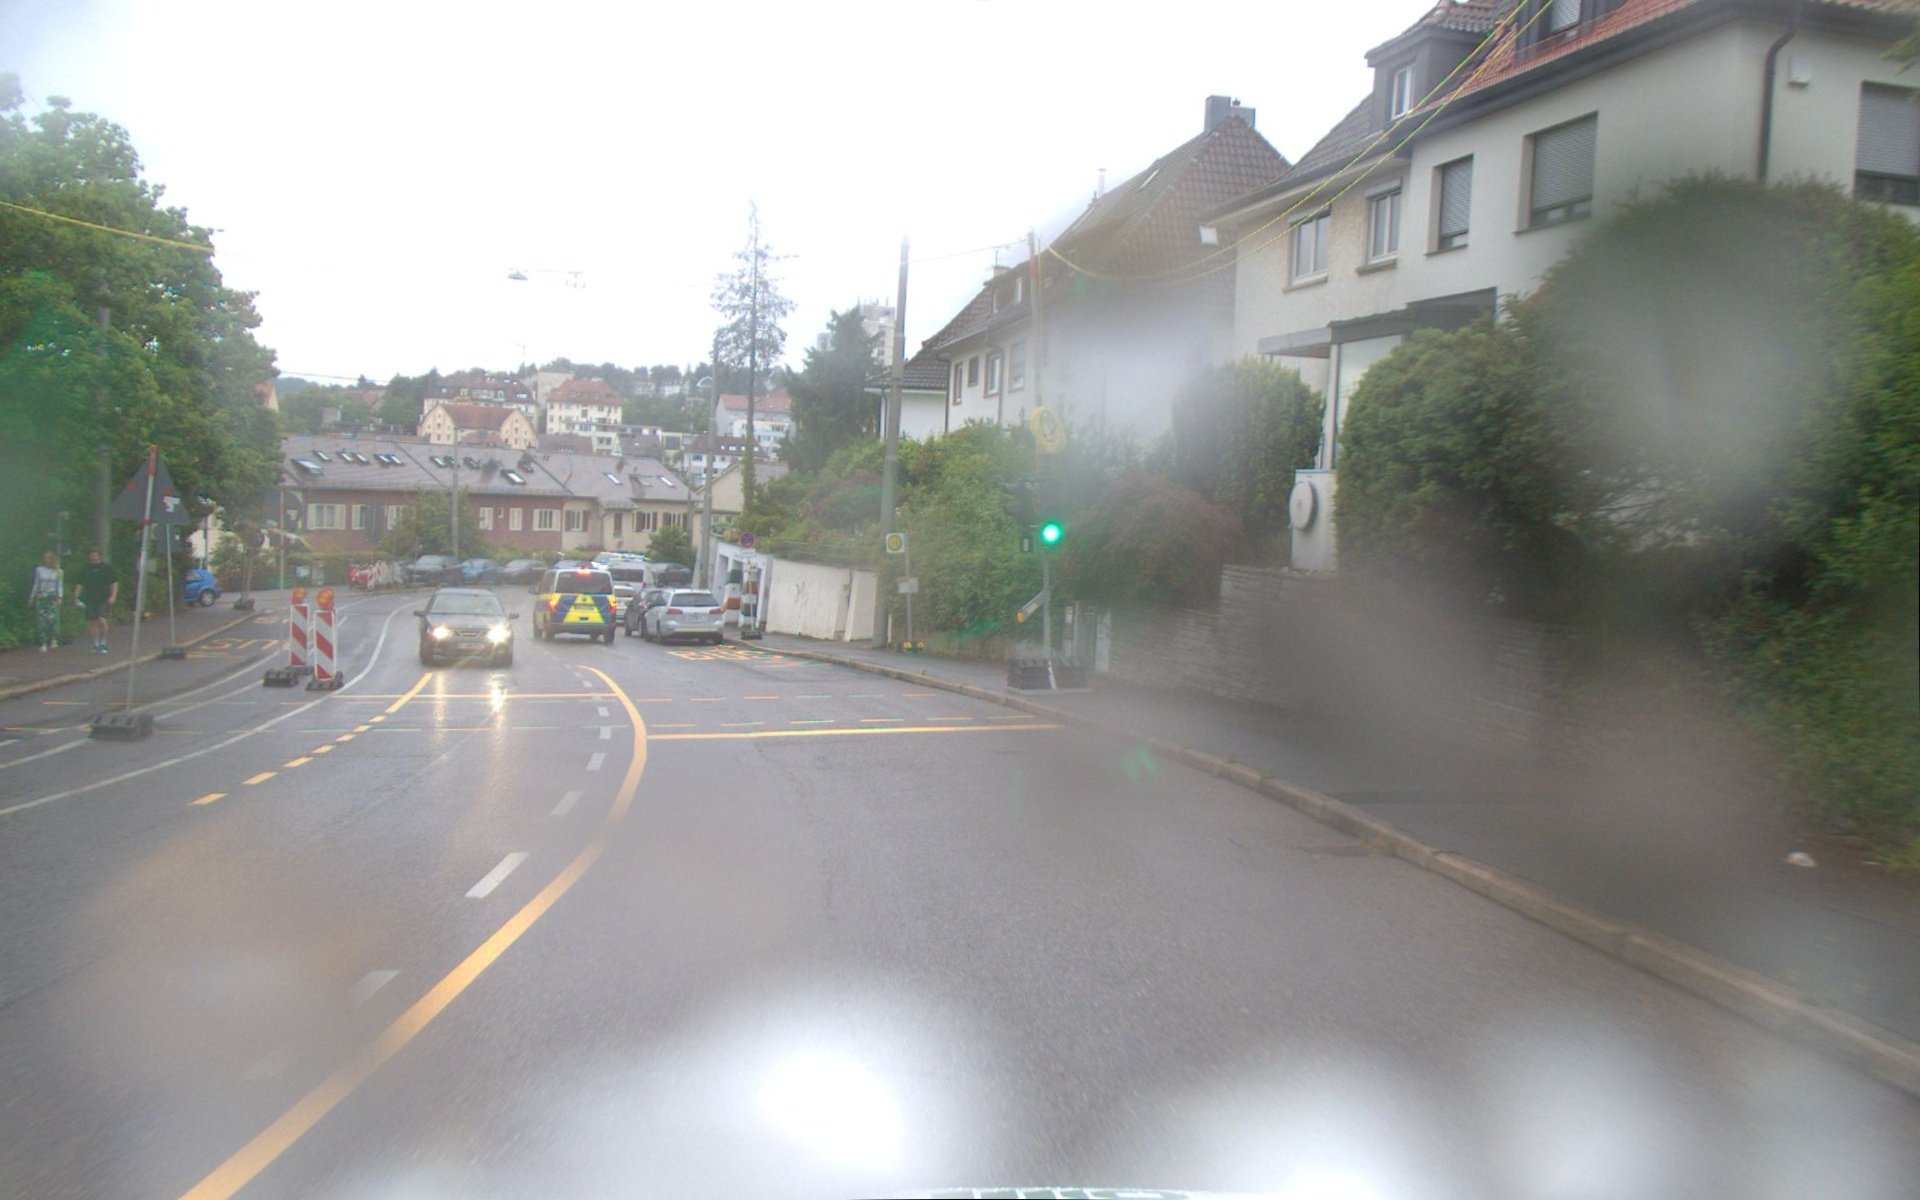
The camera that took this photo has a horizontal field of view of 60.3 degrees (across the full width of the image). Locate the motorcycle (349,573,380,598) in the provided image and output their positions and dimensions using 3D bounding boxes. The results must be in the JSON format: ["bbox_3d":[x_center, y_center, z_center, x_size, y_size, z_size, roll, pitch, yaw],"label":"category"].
[{"bbox_3d":[-28.408,-0.705,78.973,0.498,1.159,1.924,1,1,10],"label":"motorcycle"}]

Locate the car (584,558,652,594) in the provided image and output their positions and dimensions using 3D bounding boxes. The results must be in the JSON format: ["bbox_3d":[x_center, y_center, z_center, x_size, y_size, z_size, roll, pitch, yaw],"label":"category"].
[{"bbox_3d":[-22.507,-1.569,108.990,1.811,2.114,5.020,5,1,22],"label":"car"}]

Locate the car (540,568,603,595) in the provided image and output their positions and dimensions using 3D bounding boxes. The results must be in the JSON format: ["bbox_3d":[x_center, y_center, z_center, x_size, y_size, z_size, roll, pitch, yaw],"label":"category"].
[{"bbox_3d":[-24.237,-1.126,103.412,1.770,1.502,4.525,5,1,16],"label":"car"}]

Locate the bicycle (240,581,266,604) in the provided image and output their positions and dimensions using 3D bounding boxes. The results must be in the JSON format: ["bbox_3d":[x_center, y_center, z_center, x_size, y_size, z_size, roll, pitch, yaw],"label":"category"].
[{"bbox_3d":[-33.447,-0.364,78.278,1.272,1.053,0.305,-2,-3,20],"label":"bicycle"}]

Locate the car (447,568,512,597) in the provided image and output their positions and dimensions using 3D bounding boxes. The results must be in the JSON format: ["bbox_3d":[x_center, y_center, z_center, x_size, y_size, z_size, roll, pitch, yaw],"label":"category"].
[{"bbox_3d":[-26.877,-0.989,92.675,1.663,1.428,4.477,5,2,9],"label":"car"}]

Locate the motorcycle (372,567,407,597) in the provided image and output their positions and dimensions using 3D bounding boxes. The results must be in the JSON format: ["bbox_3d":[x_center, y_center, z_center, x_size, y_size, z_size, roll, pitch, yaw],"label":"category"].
[{"bbox_3d":[-28.164,-0.901,81.640,1.770,1.325,0.612,6,2,32],"label":"motorcycle"}]

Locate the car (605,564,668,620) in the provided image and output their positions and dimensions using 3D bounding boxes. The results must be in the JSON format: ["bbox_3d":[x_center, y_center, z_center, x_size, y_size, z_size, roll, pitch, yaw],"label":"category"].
[{"bbox_3d":[-15.714,-0.379,80.608,2.056,2.587,5.618,2,0,-1],"label":"car"}]

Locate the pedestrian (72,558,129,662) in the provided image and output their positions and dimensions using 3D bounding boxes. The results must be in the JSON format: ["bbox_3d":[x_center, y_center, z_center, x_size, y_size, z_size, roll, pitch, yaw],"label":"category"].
[{"bbox_3d":[-15.674,0.167,30.180,0.696,1.848,1.141,2,0,-19],"label":"pedestrian"}]

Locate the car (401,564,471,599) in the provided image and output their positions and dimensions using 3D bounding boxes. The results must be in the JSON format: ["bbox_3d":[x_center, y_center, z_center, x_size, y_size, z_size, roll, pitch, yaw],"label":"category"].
[{"bbox_3d":[-27.700,-0.993,87.492,1.882,1.604,4.391,5,2,5],"label":"car"}]

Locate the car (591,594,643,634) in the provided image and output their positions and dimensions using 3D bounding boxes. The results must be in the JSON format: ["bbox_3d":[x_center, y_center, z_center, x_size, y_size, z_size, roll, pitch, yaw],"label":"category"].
[{"bbox_3d":[-13.152,0.513,63.198,1.677,1.439,4.025,1,0,-15],"label":"car"}]

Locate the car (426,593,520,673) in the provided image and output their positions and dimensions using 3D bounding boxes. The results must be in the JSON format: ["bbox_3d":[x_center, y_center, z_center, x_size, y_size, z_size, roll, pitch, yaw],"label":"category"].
[{"bbox_3d":[-9.921,0.614,33.509,1.673,1.486,4.659,0,0,-18],"label":"car"}]

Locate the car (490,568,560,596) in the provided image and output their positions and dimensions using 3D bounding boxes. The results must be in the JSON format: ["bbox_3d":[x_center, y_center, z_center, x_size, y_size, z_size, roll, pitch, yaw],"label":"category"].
[{"bbox_3d":[-25.737,-1.051,98.007,1.771,1.502,4.524,5,1,18],"label":"car"}]

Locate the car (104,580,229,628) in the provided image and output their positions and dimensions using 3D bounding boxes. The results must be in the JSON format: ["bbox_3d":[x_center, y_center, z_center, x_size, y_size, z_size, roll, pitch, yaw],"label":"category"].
[{"bbox_3d":[-30.198,0.176,63.030,1.805,1.695,3.928,0,-2,35],"label":"car"}]

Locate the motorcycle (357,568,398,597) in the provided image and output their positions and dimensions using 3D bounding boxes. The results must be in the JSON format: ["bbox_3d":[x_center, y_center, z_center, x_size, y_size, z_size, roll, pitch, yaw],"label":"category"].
[{"bbox_3d":[-28.395,-0.855,80.598,1.764,1.301,0.511,4,1,3],"label":"motorcycle"}]

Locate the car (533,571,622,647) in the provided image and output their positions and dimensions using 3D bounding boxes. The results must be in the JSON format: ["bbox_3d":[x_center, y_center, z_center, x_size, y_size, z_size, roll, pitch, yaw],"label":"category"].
[{"bbox_3d":[-10.612,0.196,45.764,2.270,1.973,4.309,-1,1,-14],"label":"car"}]

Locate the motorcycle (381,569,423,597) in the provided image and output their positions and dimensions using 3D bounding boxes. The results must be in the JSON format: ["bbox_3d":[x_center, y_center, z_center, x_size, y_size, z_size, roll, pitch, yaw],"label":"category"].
[{"bbox_3d":[-28.073,-0.857,83.238,1.879,1.293,0.570,4,1,-29],"label":"motorcycle"}]

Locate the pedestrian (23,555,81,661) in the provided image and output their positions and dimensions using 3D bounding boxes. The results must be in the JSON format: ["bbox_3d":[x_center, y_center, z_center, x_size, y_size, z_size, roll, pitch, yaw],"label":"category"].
[{"bbox_3d":[-16.409,0.134,29.909,0.670,1.848,1.149,2,0,-19],"label":"pedestrian"}]

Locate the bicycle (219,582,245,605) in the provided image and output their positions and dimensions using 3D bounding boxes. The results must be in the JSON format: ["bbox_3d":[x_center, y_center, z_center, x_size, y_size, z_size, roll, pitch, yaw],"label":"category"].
[{"bbox_3d":[-34.713,-0.321,78.824,1.297,1.053,0.305,-2,-3,22],"label":"bicycle"}]

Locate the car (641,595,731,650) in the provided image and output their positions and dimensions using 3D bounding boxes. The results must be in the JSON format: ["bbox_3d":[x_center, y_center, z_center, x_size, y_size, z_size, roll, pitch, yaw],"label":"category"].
[{"bbox_3d":[-7.543,0.585,45.189,1.754,1.445,4.406,0,0,-19],"label":"car"}]

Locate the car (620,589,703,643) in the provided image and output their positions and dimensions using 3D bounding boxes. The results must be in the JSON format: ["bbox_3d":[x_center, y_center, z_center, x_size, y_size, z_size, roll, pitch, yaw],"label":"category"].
[{"bbox_3d":[-9.016,0.460,49.784,1.690,1.540,3.974,1,0,-22],"label":"car"}]
